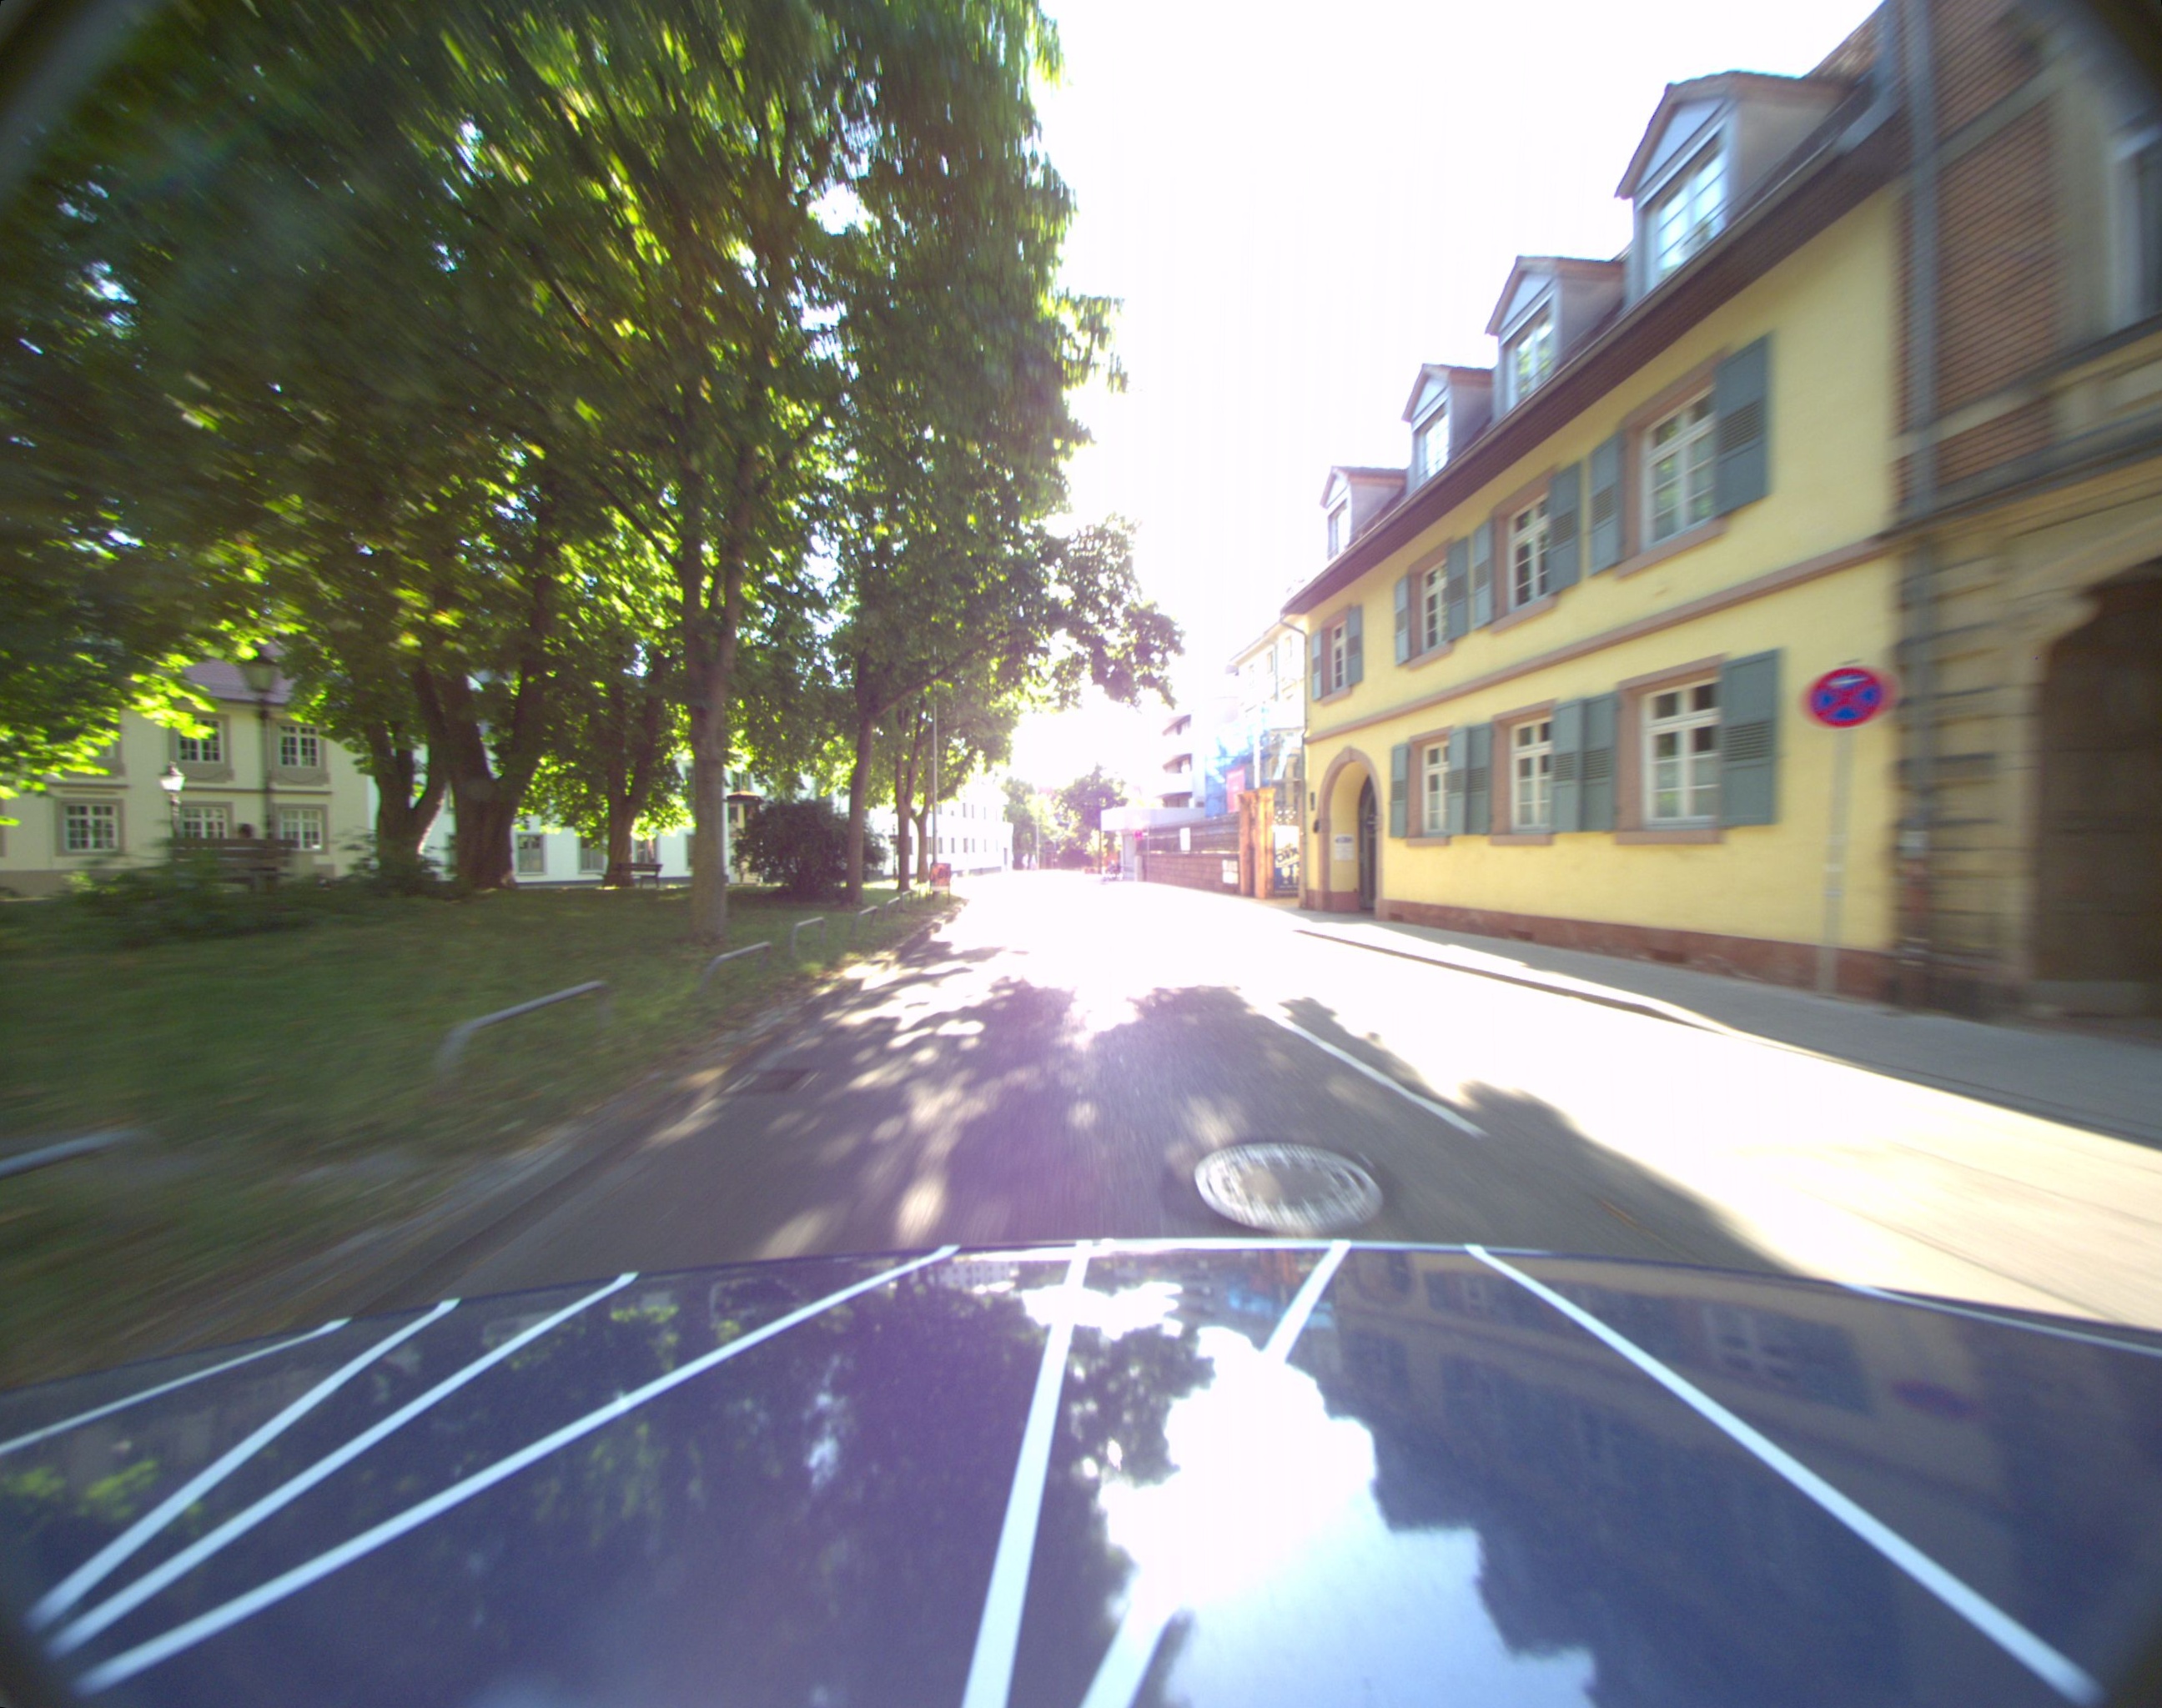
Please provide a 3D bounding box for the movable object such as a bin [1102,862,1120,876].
[{"bbox_3d":[2.150,1.073,54.219,1.038,0.923,0.840,-3,1,-13],"label":"movable object such as a bin"}]

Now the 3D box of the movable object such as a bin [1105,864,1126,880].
[{"bbox_3d":[2.175,1.148,47.664,1.035,0.923,0.842,-2,1,28],"label":"movable object such as a bin"}]

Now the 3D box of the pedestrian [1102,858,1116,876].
[{"bbox_3d":[1.974,0.921,54.185,0.743,1.179,0.840,-3,1,-13],"label":"pedestrian"}]

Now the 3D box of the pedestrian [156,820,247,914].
[{"bbox_3d":[-12.793,0.186,11.079,0.697,1.310,0.680,0,1,-32],"label":"pedestrian"}]

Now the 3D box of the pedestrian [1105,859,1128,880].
[{"bbox_3d":[2.212,0.981,47.642,1.155,1.222,0.842,-2,1,28],"label":"pedestrian"}]
